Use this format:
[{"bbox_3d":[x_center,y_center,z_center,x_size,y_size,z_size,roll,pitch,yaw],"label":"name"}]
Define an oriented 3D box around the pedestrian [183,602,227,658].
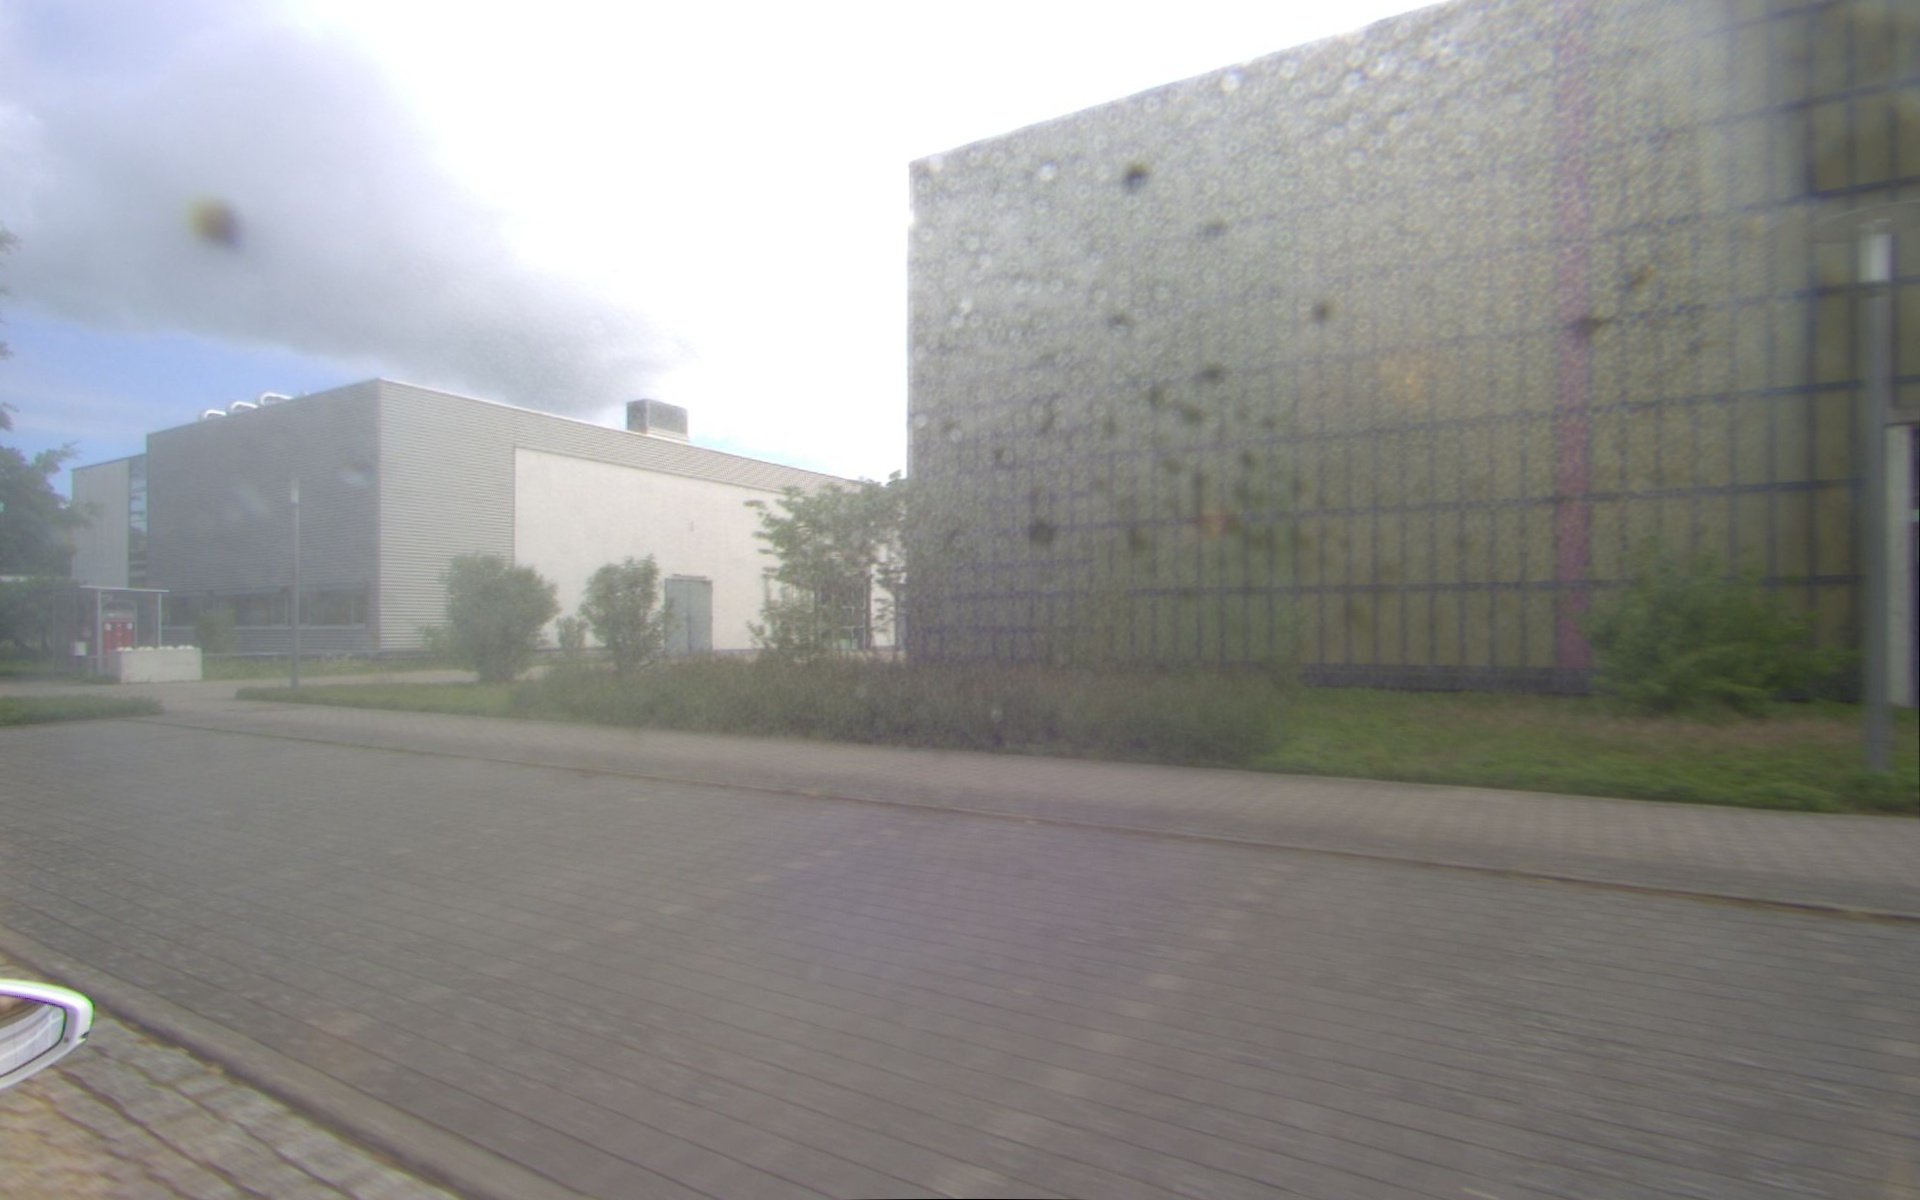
[{"bbox_3d":[-26.611,1.066,35.305,0.838,1.961,0.920,0,-1,2],"label":"pedestrian"}]
